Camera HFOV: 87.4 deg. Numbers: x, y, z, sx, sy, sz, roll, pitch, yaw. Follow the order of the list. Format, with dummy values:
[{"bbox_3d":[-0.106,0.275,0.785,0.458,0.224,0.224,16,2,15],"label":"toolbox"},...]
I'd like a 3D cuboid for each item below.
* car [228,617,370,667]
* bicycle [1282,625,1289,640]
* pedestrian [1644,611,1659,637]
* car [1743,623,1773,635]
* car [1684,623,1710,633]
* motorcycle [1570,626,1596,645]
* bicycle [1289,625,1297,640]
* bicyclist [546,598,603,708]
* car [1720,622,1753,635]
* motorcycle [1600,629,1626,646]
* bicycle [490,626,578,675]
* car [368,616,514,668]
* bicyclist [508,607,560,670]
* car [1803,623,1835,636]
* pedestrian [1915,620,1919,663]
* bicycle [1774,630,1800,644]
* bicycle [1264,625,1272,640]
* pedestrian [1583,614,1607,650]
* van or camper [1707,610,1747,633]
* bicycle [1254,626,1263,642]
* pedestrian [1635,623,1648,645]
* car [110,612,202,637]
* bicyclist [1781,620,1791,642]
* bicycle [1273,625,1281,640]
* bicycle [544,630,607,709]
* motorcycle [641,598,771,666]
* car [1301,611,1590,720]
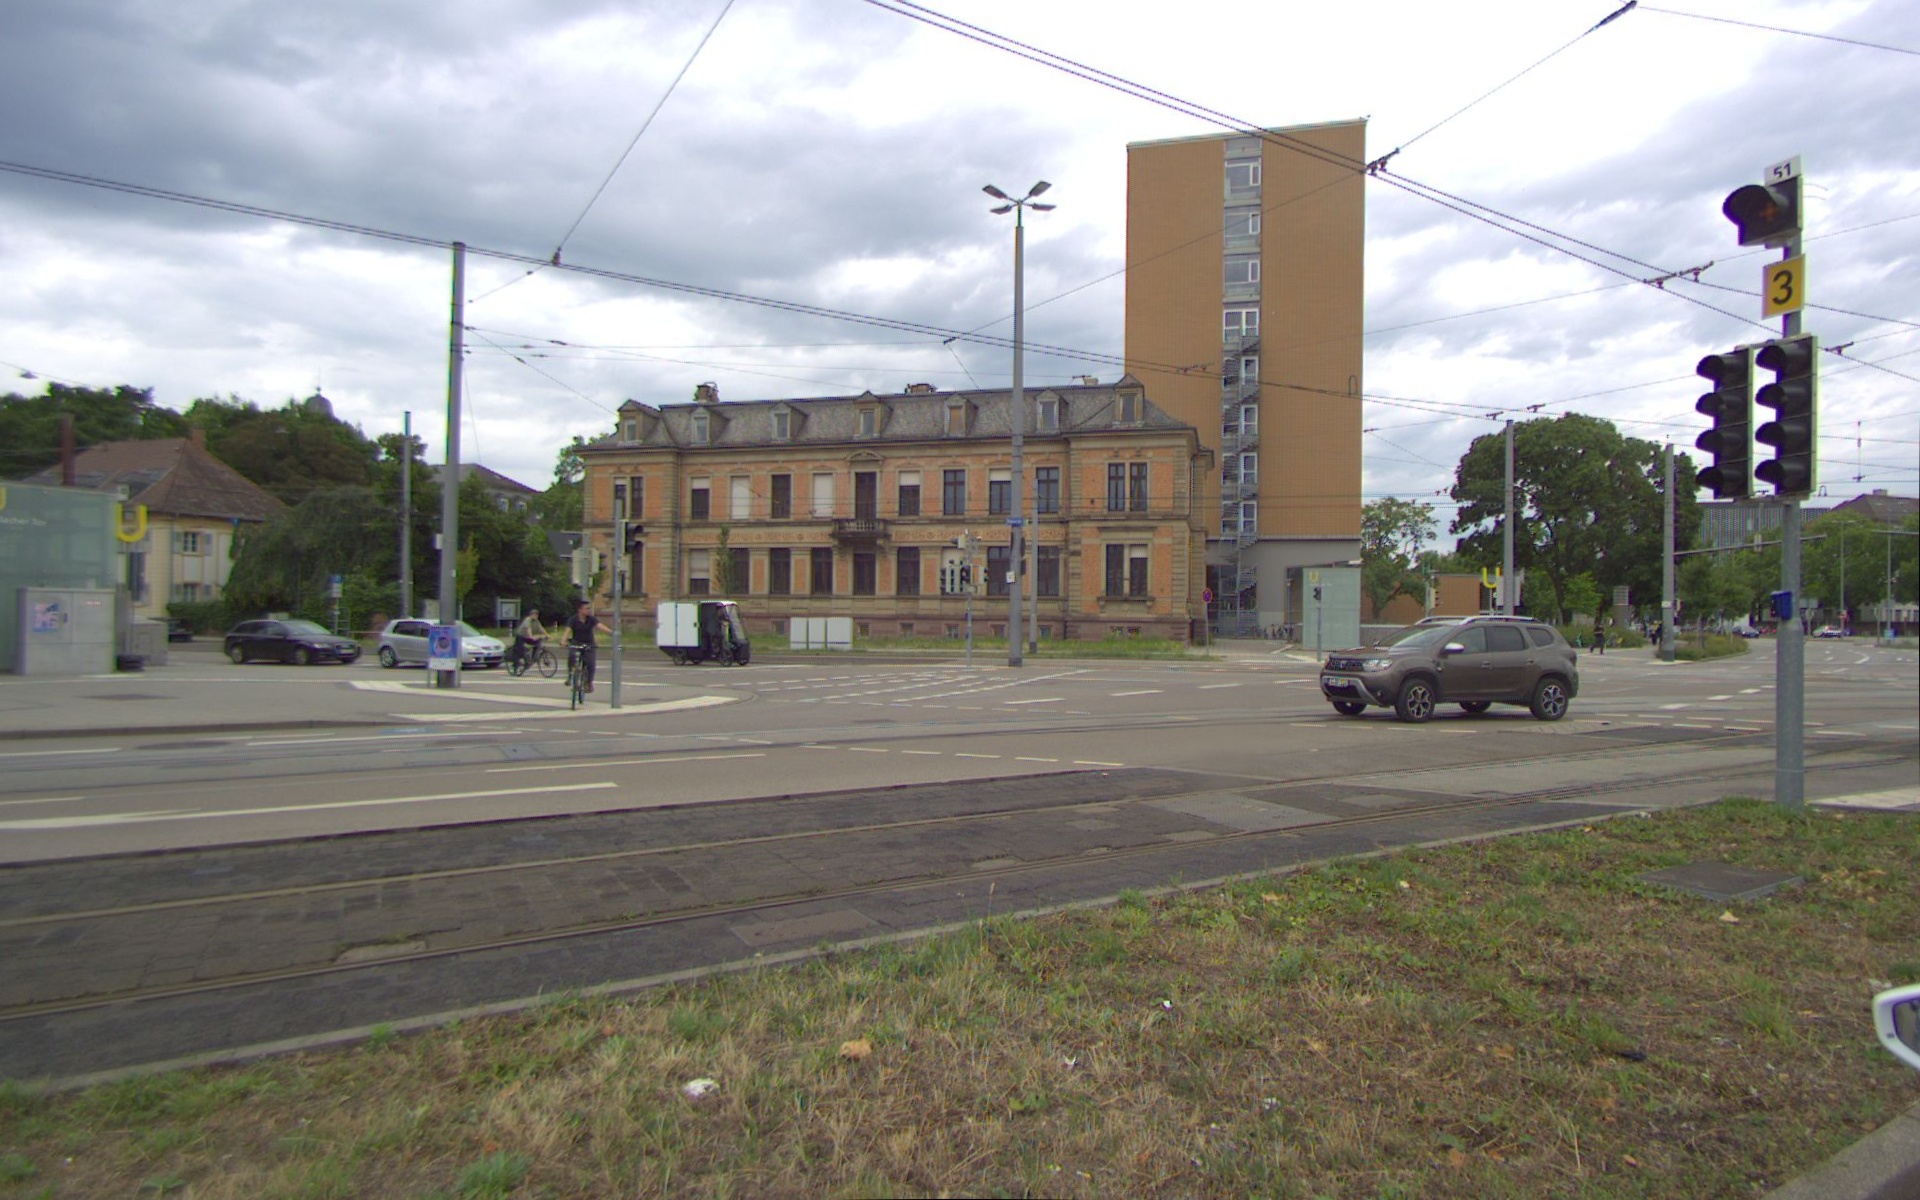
[{"bbox_3d":[-21.460,1.334,32.648,4.061,1.468,1.697,1,0,18],"label":"car"},{"bbox_3d":[23.927,2.388,73.856,0.472,1.063,1.428,1,-1,18],"label":"bicycle"},{"bbox_3d":[54.045,1.903,78.522,0.781,2.007,0.880,1,-1,26],"label":"pedestrian"},{"bbox_3d":[110.936,4.059,139.696,1.746,1.483,4.002,1,0,15],"label":"car"},{"bbox_3d":[110.559,4.171,150.721,1.746,1.483,4.002,1,0,15],"label":"car"},{"bbox_3d":[42.104,2.408,67.901,1.443,1.285,0.512,1,0,14],"label":"motorcycle"},{"bbox_3d":[24.422,2.378,73.696,0.472,1.063,1.428,1,-1,18],"label":"bicycle"},{"bbox_3d":[-6.668,0.892,17.362,0.805,1.822,1.022,-1,0,-28],"label":"bicyclist"},{"bbox_3d":[95.597,3.526,123.765,1.746,1.483,4.002,1,-1,14],"label":"car"},{"bbox_3d":[44.208,2.547,68.025,1.716,1.126,0.510,1,0,-17],"label":"motorcycle"},{"bbox_3d":[-11.398,1.332,26.854,2.154,1.224,0.857,0,-1,20],"label":"bicycle"},{"bbox_3d":[-15.771,1.233,30.520,4.081,1.473,1.760,0,0,23],"label":"car"},{"bbox_3d":[-11.388,1.032,26.860,0.899,1.644,0.855,0,-1,20],"label":"bicyclist"},{"bbox_3d":[104.543,3.553,122.232,1.747,1.483,3.998,1,0,22],"label":"car"},{"bbox_3d":[44.272,1.896,45.746,1.014,1.959,0.699,0,-1,35],"label":"pedestrian"},{"bbox_3d":[76.488,3.393,92.895,1.791,1.252,0.435,1,-1,14],"label":"bicycle"},{"bbox_3d":[22.729,2.393,74.180,0.561,1.120,1.428,1,-1,18],"label":"bicycle"},{"bbox_3d":[36.080,1.807,57.080,1.009,2.040,0.842,0,-1,41],"label":"pedestrian"},{"bbox_3d":[108.877,2.988,142.612,2.347,3.165,5.507,1,-1,12],"label":"van or camper"},{"bbox_3d":[22.086,2.516,74.348,0.561,1.120,1.428,1,-1,18],"label":"bicycle"},{"bbox_3d":[64.902,3.223,95.634,0.868,2.007,0.792,0,-2,42],"label":"pedestrian"},{"bbox_3d":[-44.527,1.346,55.655,3.919,1.305,1.936,1,-1,12],"label":"car"},{"bbox_3d":[76.430,2.848,92.928,0.578,2.040,0.514,1,-1,13],"label":"bicyclist"},{"bbox_3d":[23.353,2.402,73.981,0.500,1.063,1.428,1,-1,18],"label":"bicycle"},{"bbox_3d":[-6.640,1.163,17.293,0.805,1.259,1.986,0,-2,-27],"label":"bicycle"},{"bbox_3d":[-8.022,0.971,31.799,3.614,2.040,1.696,1,0,19],"label":"motorcycle"},{"bbox_3d":[8.026,1.044,16.705,4.159,1.662,1.798,1,0,-15],"label":"car"}]
